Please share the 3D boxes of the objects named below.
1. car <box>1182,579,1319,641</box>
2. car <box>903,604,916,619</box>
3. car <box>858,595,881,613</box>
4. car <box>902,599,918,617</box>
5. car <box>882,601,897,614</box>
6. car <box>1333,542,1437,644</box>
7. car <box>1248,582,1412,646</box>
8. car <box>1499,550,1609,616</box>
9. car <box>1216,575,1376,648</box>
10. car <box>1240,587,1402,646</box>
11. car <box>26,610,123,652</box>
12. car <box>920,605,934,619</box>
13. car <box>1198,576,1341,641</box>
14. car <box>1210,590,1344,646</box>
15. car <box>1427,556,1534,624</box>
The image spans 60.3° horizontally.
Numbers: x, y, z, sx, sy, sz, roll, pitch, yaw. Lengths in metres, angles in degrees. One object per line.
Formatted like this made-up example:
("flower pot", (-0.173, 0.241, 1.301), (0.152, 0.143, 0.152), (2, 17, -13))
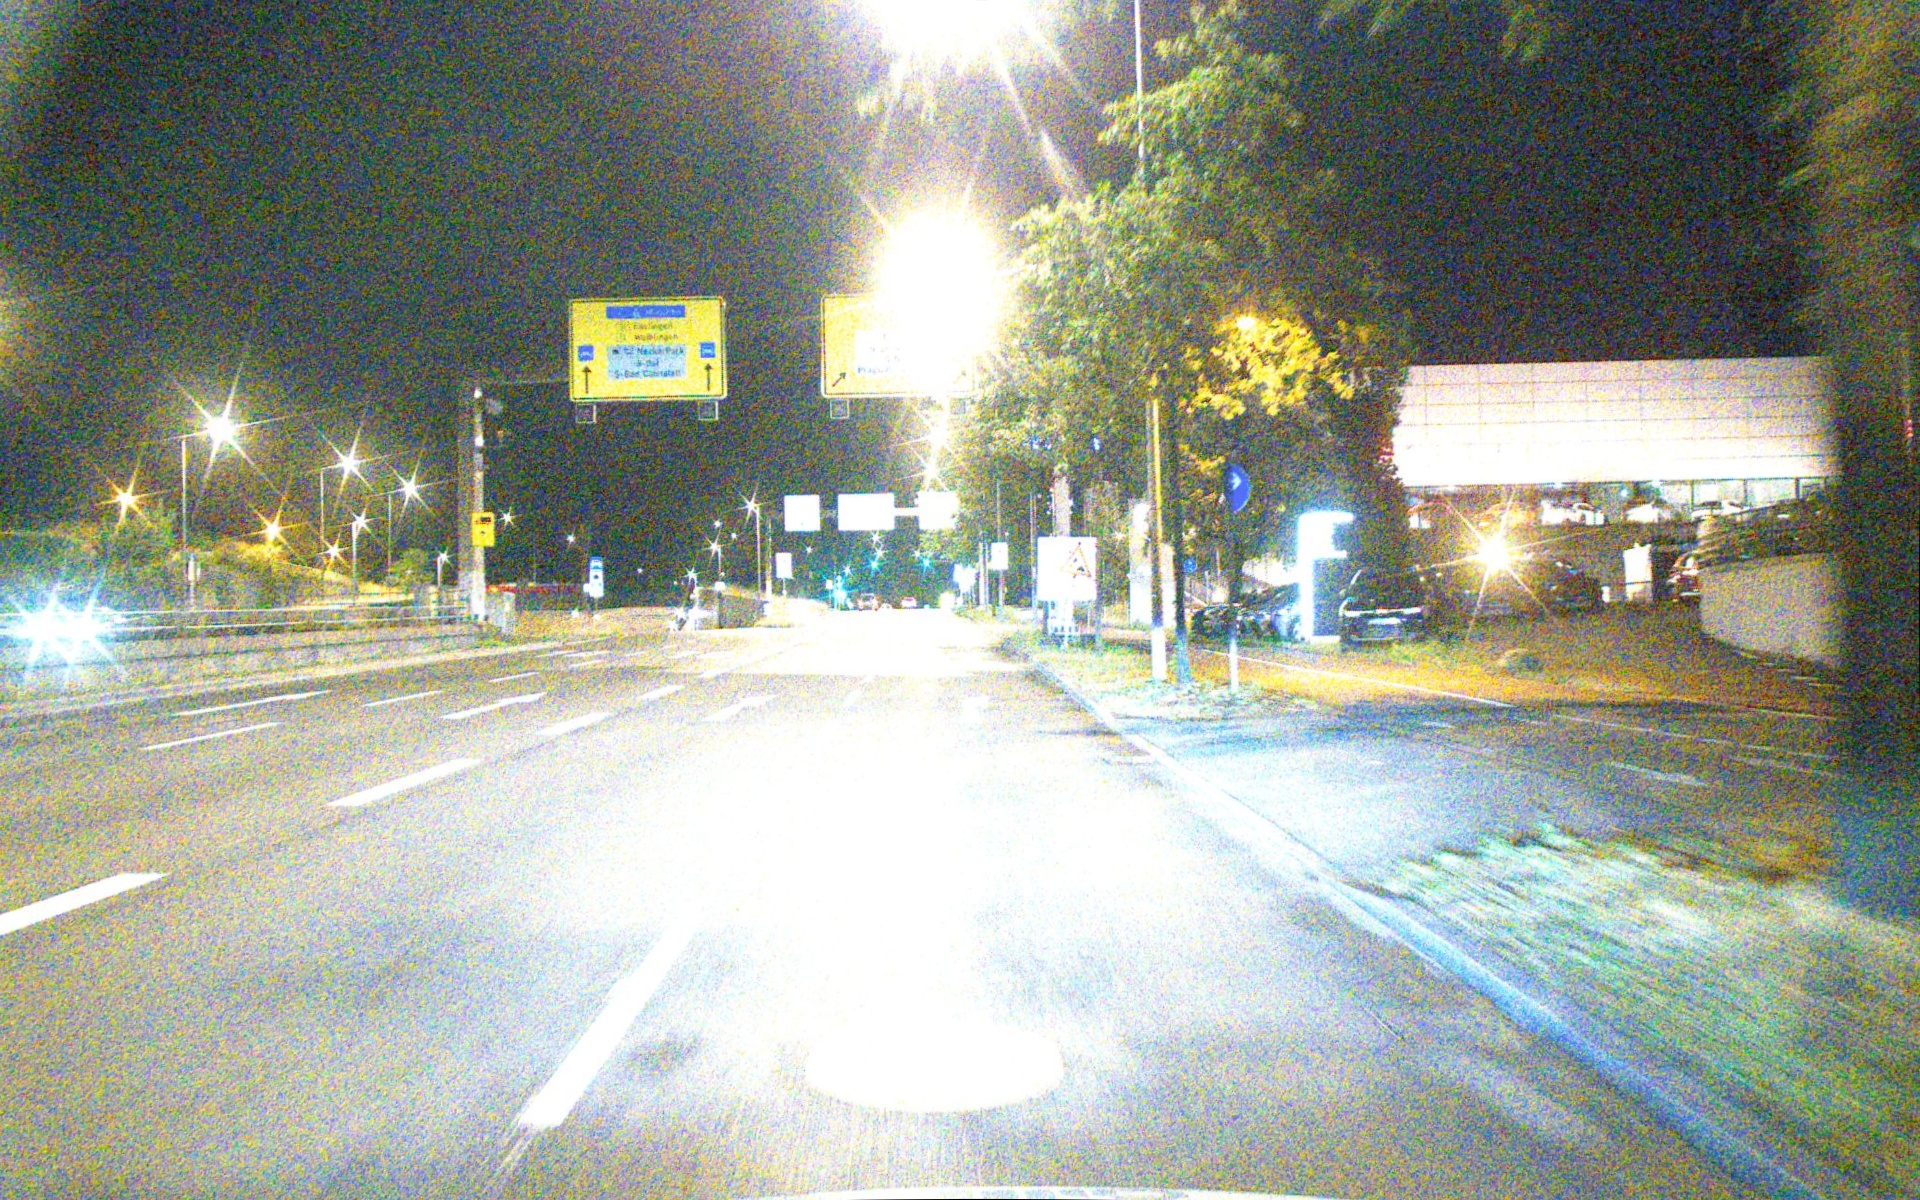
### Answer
("car", (9.106, 0.331, 51.986), (3.909, 1.889, 1.820), (1, -2, -5))
("car", (-6.536, 1.508, 214.327), (1.745, 1.758, 3.998), (1, -2, -1))
("car", (-8.846, 0.398, 162.294), (1.927, 1.741, 4.000), (0, -2, 1))
("car", (-6.063, 1.015, 200.639), (1.953, 2.049, 3.998), (1, -2, -1))
("car", (-9.796, 1.060, 228.768), (1.953, 1.624, 3.999), (-1, -1, -1))
("car", (8.839, -0.087, 34.161), (1.951, 1.979, 4.002), (0, -2, 16))
("car", (8.928, 0.354, 40.083), (3.553, 1.477, 1.706), (1, -2, -5))
("car", (15.173, -0.403, 42.443), (1.852, 1.538, 3.638), (0, -2, 6))
("car", (9.102, 0.331, 44.975), (3.909, 1.889, 1.820), (1, -2, -5))
("car", (9.210, 0.441, 42.319), (3.748, 1.435, 1.709), (1, -2, -4))
("car", (-32.838, 1.152, 61.465), (1.592, 1.507, 3.678), (0, -2, 0))
("car", (-4.579, 1.672, 228.979), (1.800, 1.870, 3.998), (1, -2, -1))
("car", (9.279, 0.271, 49.811), (3.909, 1.889, 1.820), (1, -2, -5))
("car", (9.037, 0.519, 47.330), (3.441, 1.535, 1.734), (1, -2, -5))
("car", (12.825, -0.211, 40.958), (1.852, 1.538, 3.638), (0, -2, 6))
